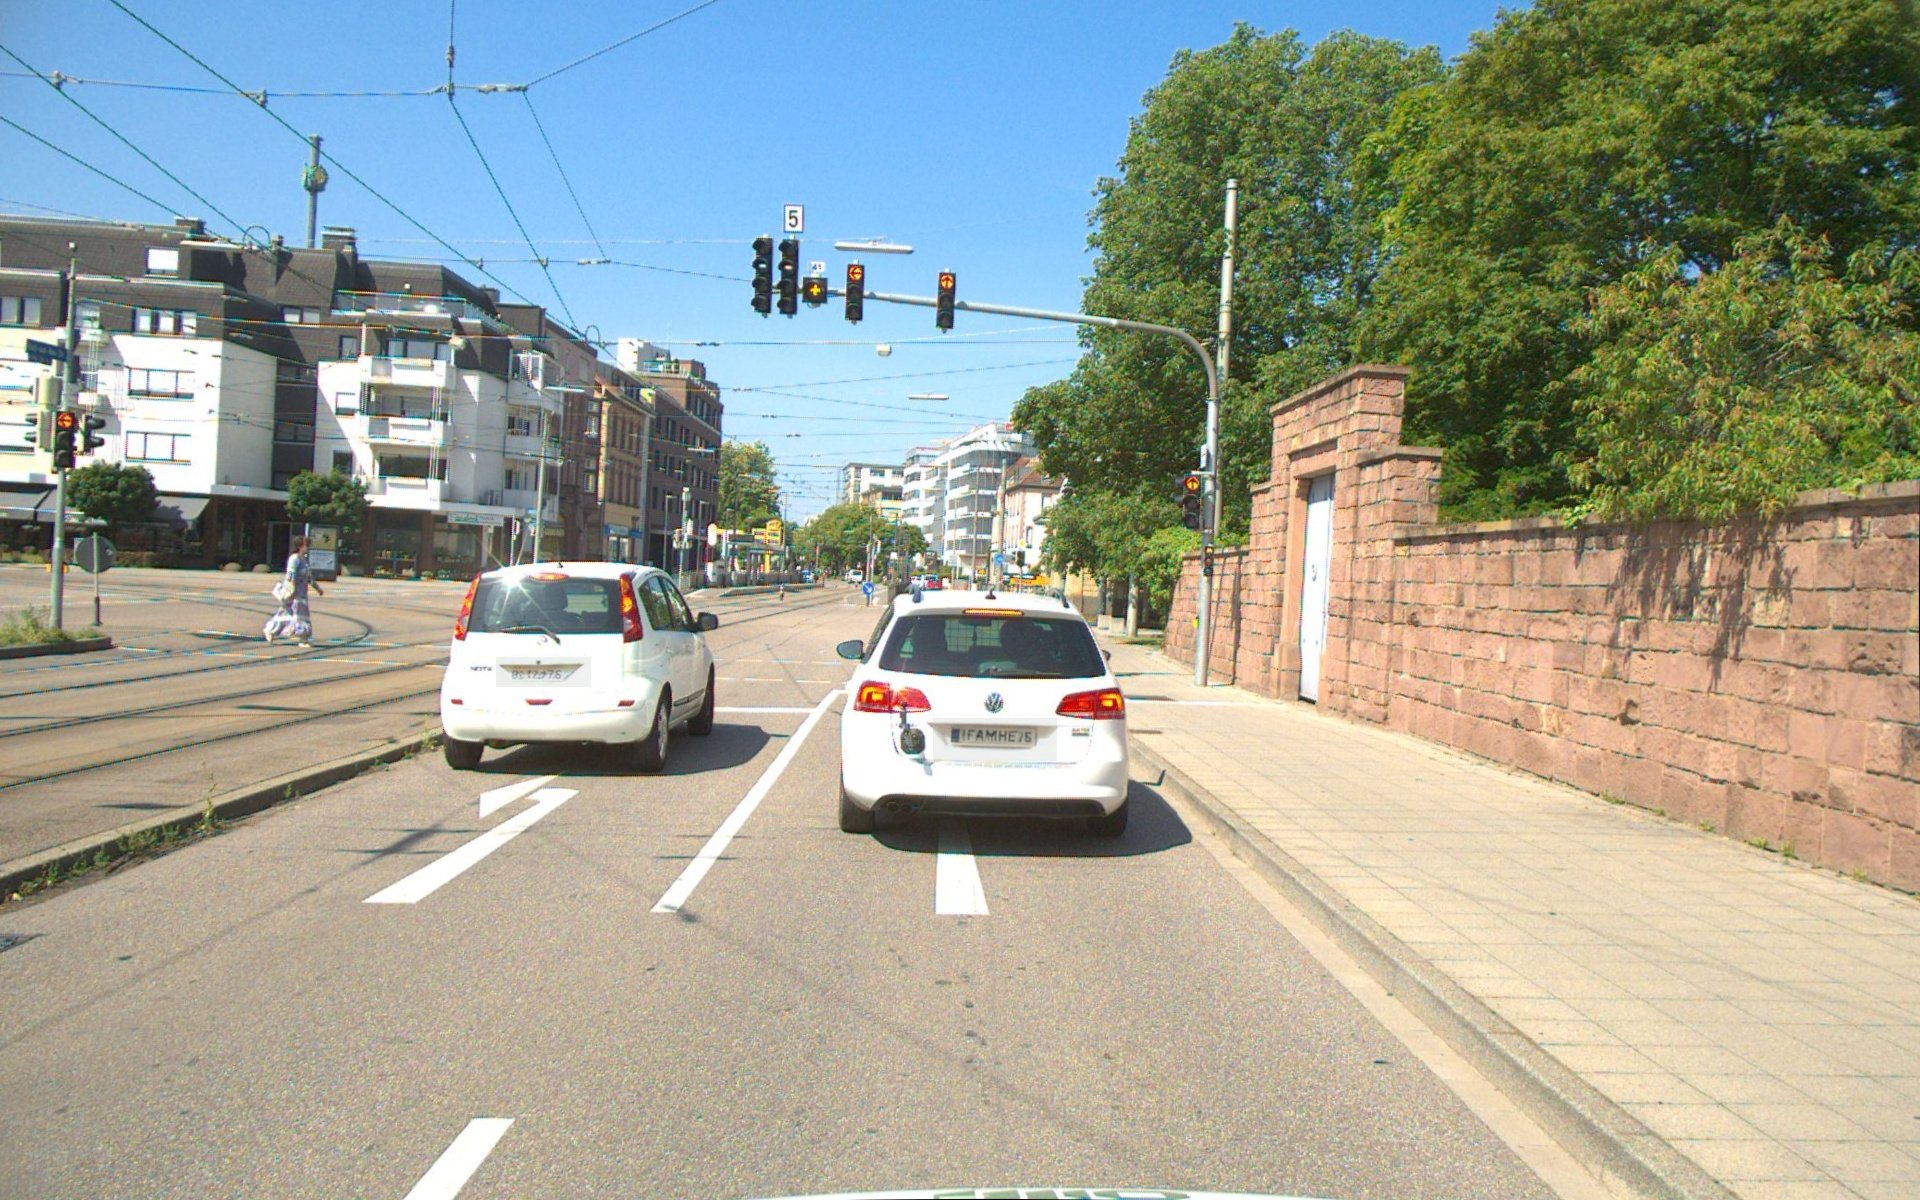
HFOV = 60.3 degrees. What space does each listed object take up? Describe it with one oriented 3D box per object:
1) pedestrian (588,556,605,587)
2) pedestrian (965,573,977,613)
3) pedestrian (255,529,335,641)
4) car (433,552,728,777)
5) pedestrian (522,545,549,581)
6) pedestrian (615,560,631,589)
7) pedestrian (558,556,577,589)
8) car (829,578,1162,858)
[{"bbox_3d":[-21.328,-1.675,97.058,0.845,1.773,0.974,1,0,-6],"label":"pedestrian"},{"bbox_3d":[0.674,-0.430,100.062,0.675,2.366,1.232,1,-1,1],"label":"pedestrian"},{"bbox_3d":[-10.214,-0.219,25.451,0.954,1.680,0.953,1,-1,-12],"label":"pedestrian"},{"bbox_3d":[-2.997,0.414,13.805,1.608,1.593,3.803,1,2,-1],"label":"car"},{"bbox_3d":[-21.065,-1.833,82.105,0.850,1.773,0.968,0,-1,44],"label":"pedestrian"},{"bbox_3d":[-20.948,-1.580,102.957,0.845,1.773,0.974,1,0,-6],"label":"pedestrian"},{"bbox_3d":[-21.128,-1.475,88.944,0.845,1.773,0.974,1,0,-6],"label":"pedestrian"},{"bbox_3d":[0.167,0.614,10.930,1.771,1.473,4.000,1,1,-1],"label":"car"}]
